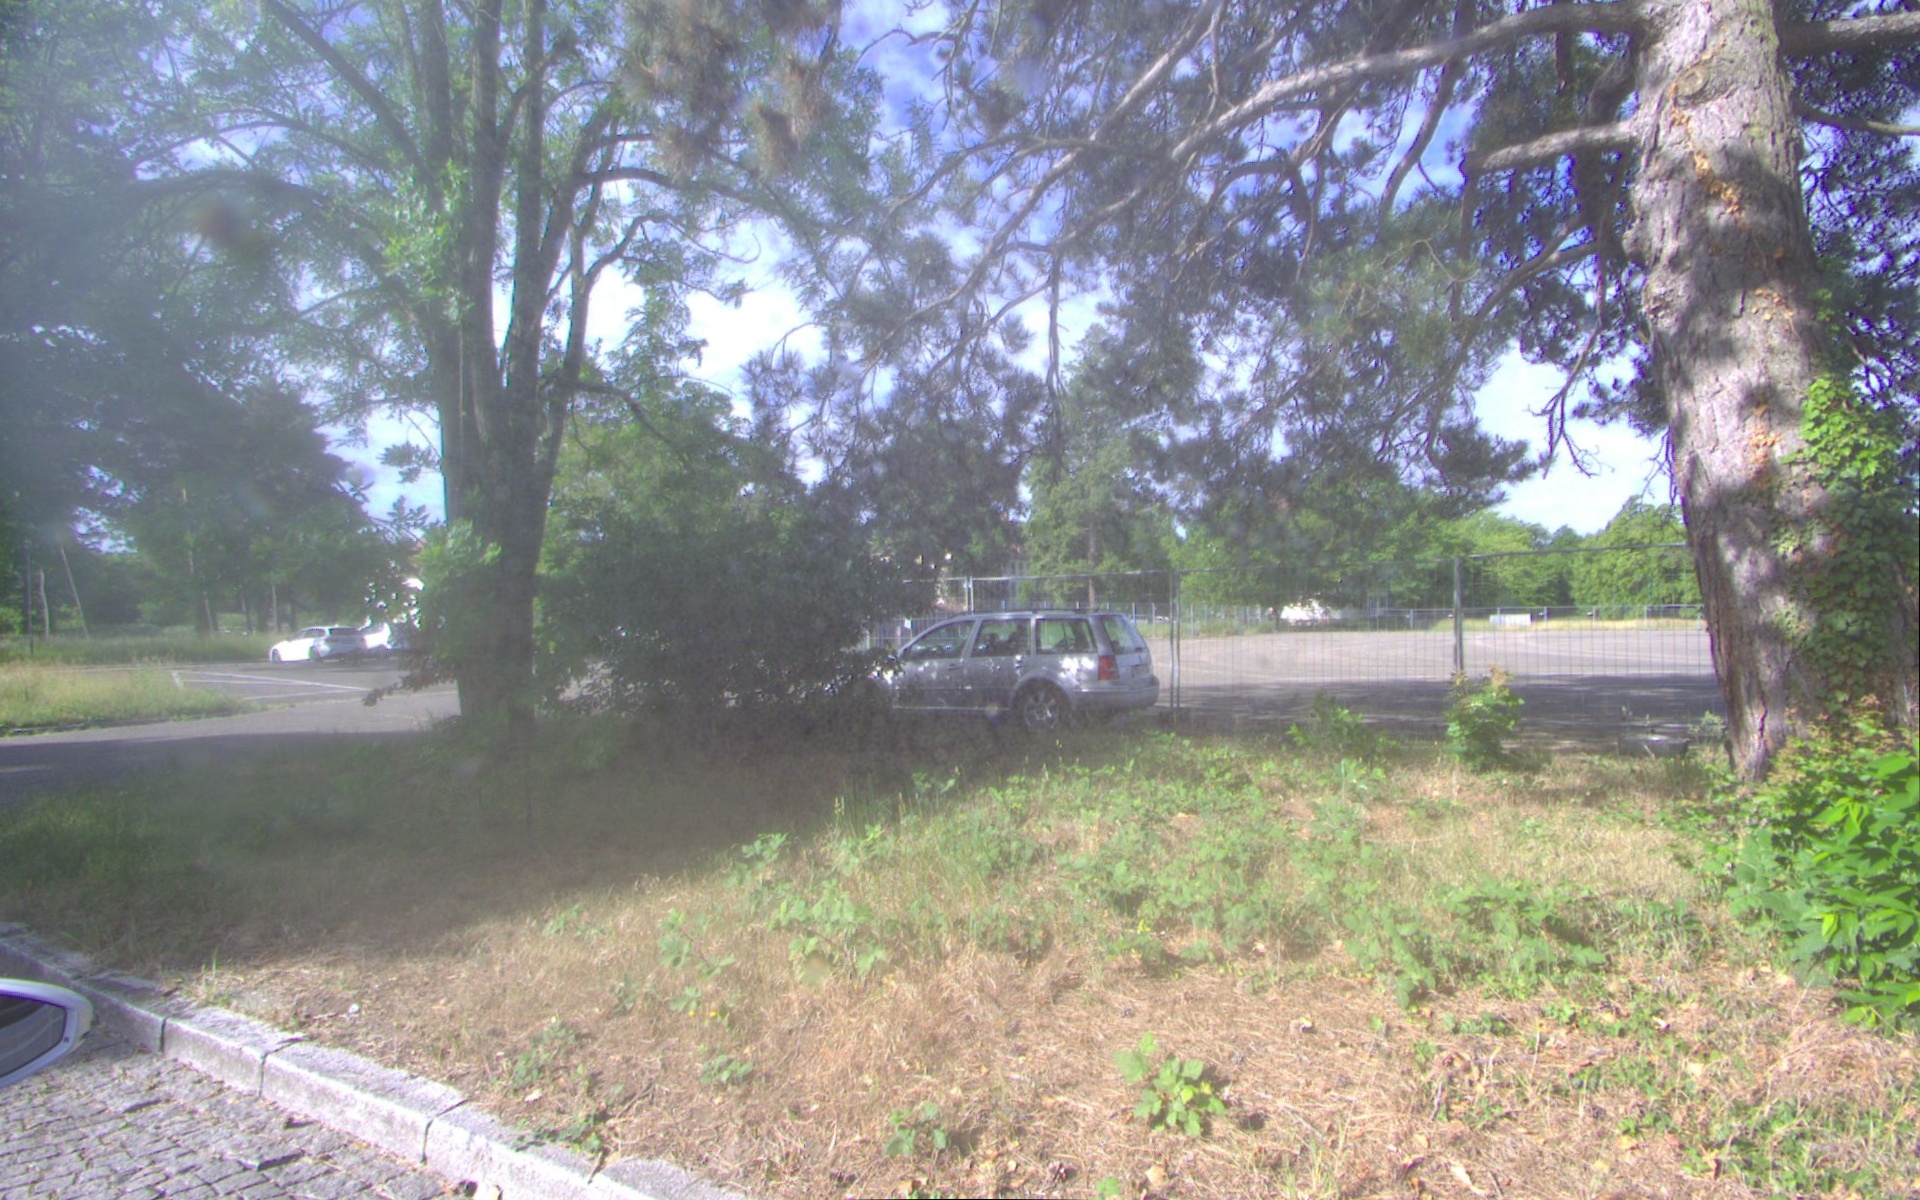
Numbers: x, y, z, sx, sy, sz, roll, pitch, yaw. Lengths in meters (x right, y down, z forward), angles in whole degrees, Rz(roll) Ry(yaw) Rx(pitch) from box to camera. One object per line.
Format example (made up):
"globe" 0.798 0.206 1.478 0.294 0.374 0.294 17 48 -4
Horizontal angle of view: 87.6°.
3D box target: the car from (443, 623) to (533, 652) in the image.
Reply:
"car" -22.491 1.767 47.688 4.265 1.329 1.729 -1 0 28

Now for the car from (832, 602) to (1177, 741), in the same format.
"car" 0.513 0.808 12.374 3.938 1.487 1.666 -1 -1 28

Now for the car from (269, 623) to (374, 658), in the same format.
"car" -25.817 1.606 40.489 4.265 1.329 1.729 -1 -1 28

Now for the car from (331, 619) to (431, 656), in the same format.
"car" -24.772 1.606 42.804 4.265 1.496 1.729 -1 -1 28

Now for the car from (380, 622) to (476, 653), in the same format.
"car" -23.910 1.675 44.973 4.265 1.329 1.729 -1 0 28
